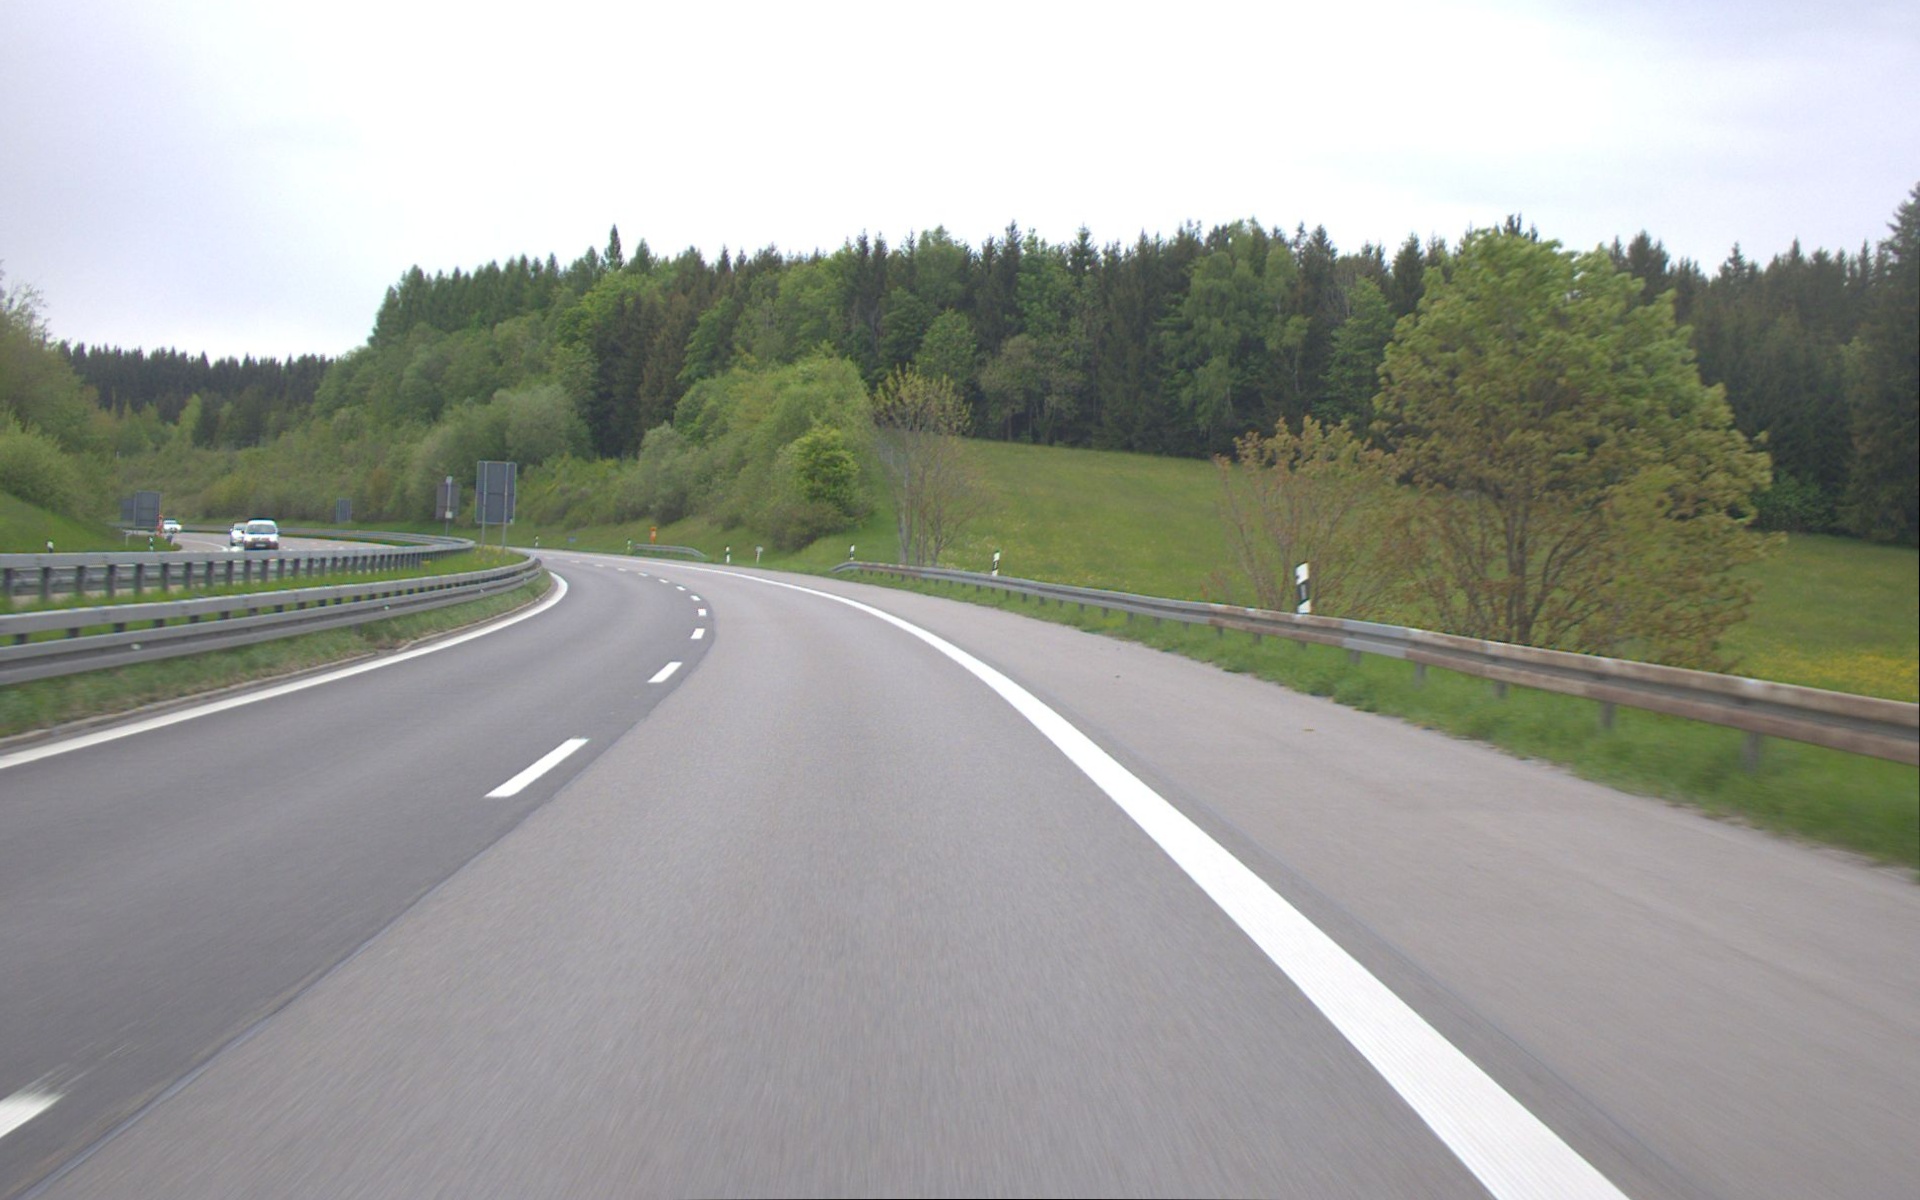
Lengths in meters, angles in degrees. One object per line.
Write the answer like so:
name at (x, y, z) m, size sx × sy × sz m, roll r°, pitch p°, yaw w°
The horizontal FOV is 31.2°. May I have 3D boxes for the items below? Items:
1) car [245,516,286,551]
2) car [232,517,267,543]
car at (-36.992, -3.542, 183.237) m, size 1.993 × 1.680 × 4.628 m, roll 3°, pitch 1°, yaw -11°
car at (-51.306, -5.048, 248.191) m, size 2.034 × 1.685 × 5.057 m, roll 3°, pitch 1°, yaw -16°
